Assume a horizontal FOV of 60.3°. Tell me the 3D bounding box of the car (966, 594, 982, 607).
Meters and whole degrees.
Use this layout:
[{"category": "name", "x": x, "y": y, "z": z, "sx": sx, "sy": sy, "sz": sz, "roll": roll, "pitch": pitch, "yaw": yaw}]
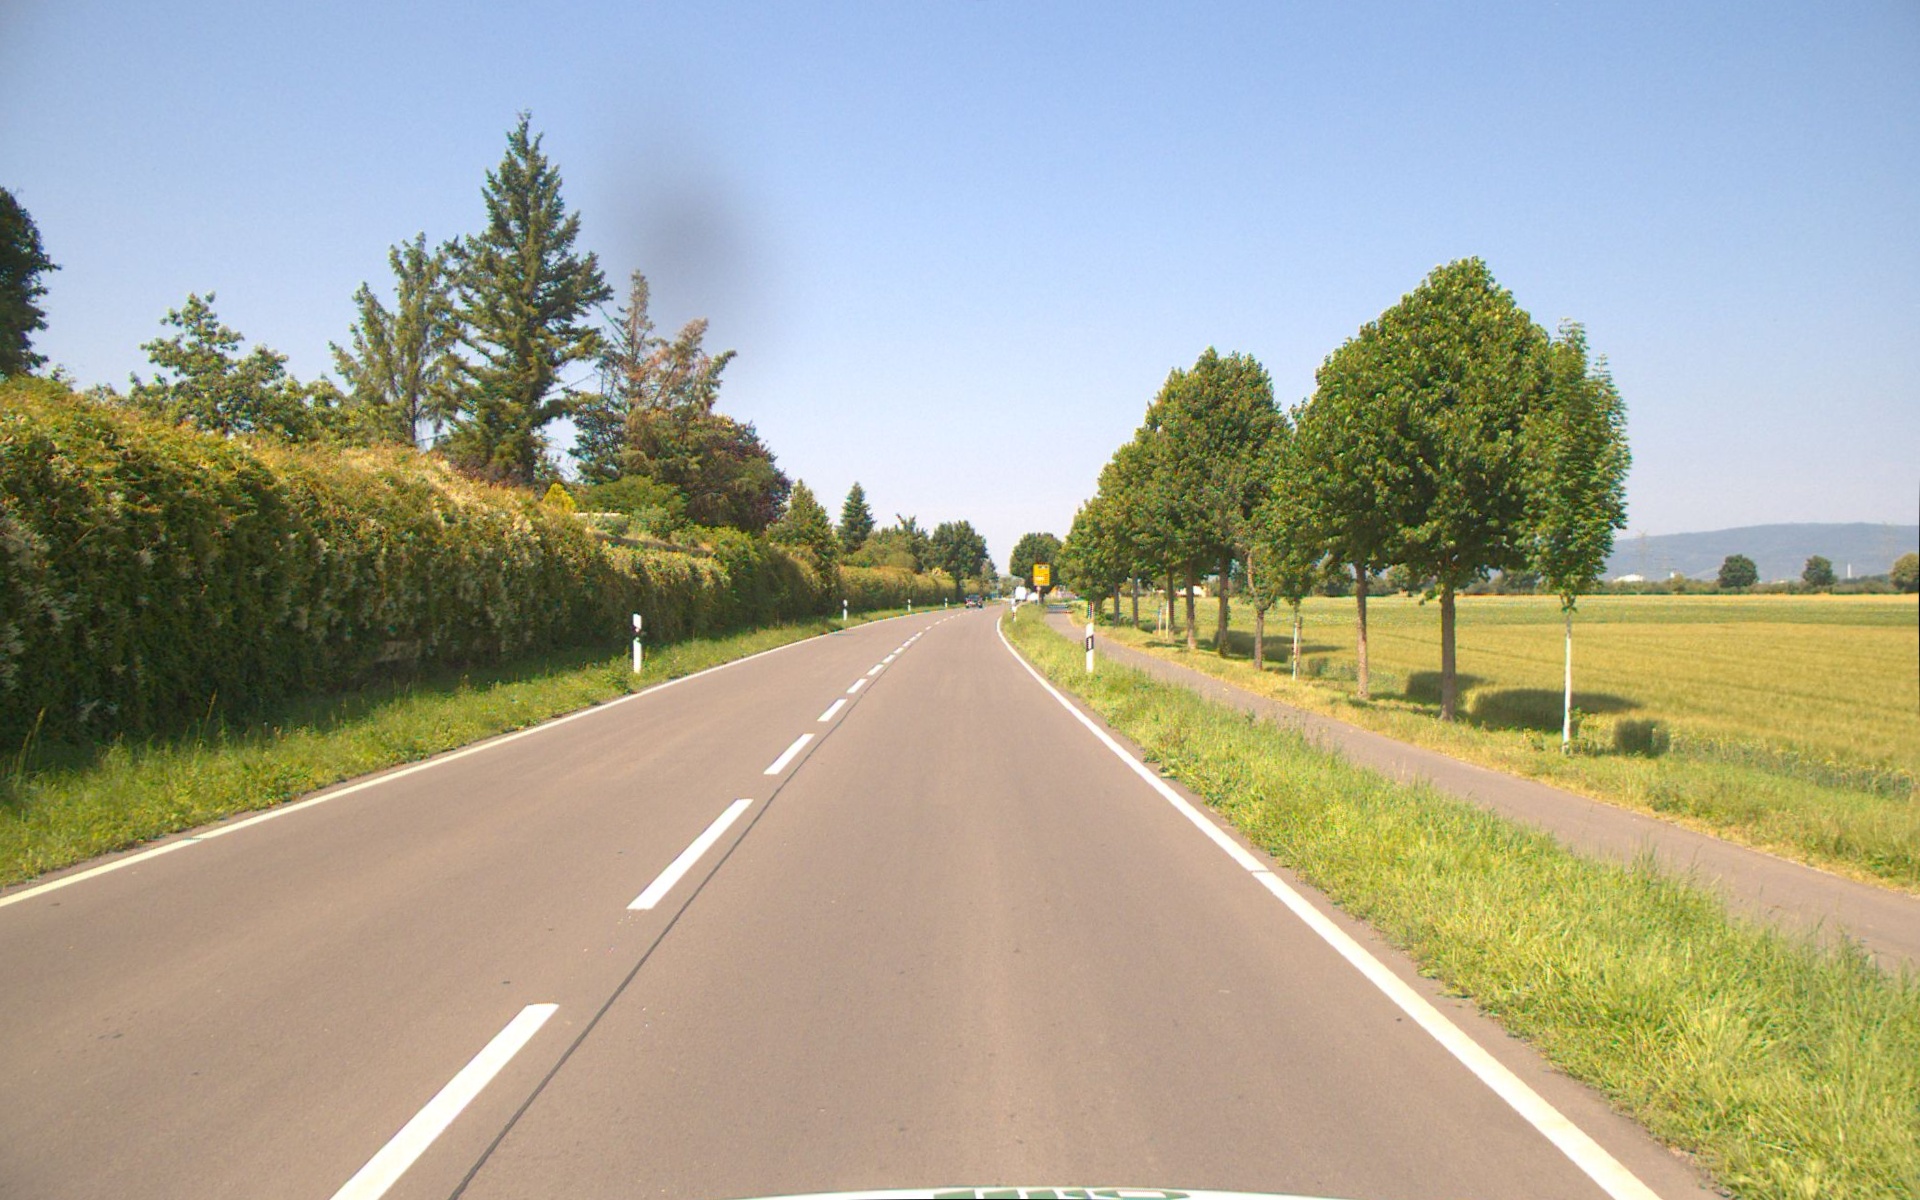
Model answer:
[{"category": "car", "x": 1.610, "y": 0.084, "z": 190.275, "sx": 1.802, "sy": 1.493, "sz": 3.932, "roll": 0, "pitch": 0, "yaw": 0}]
